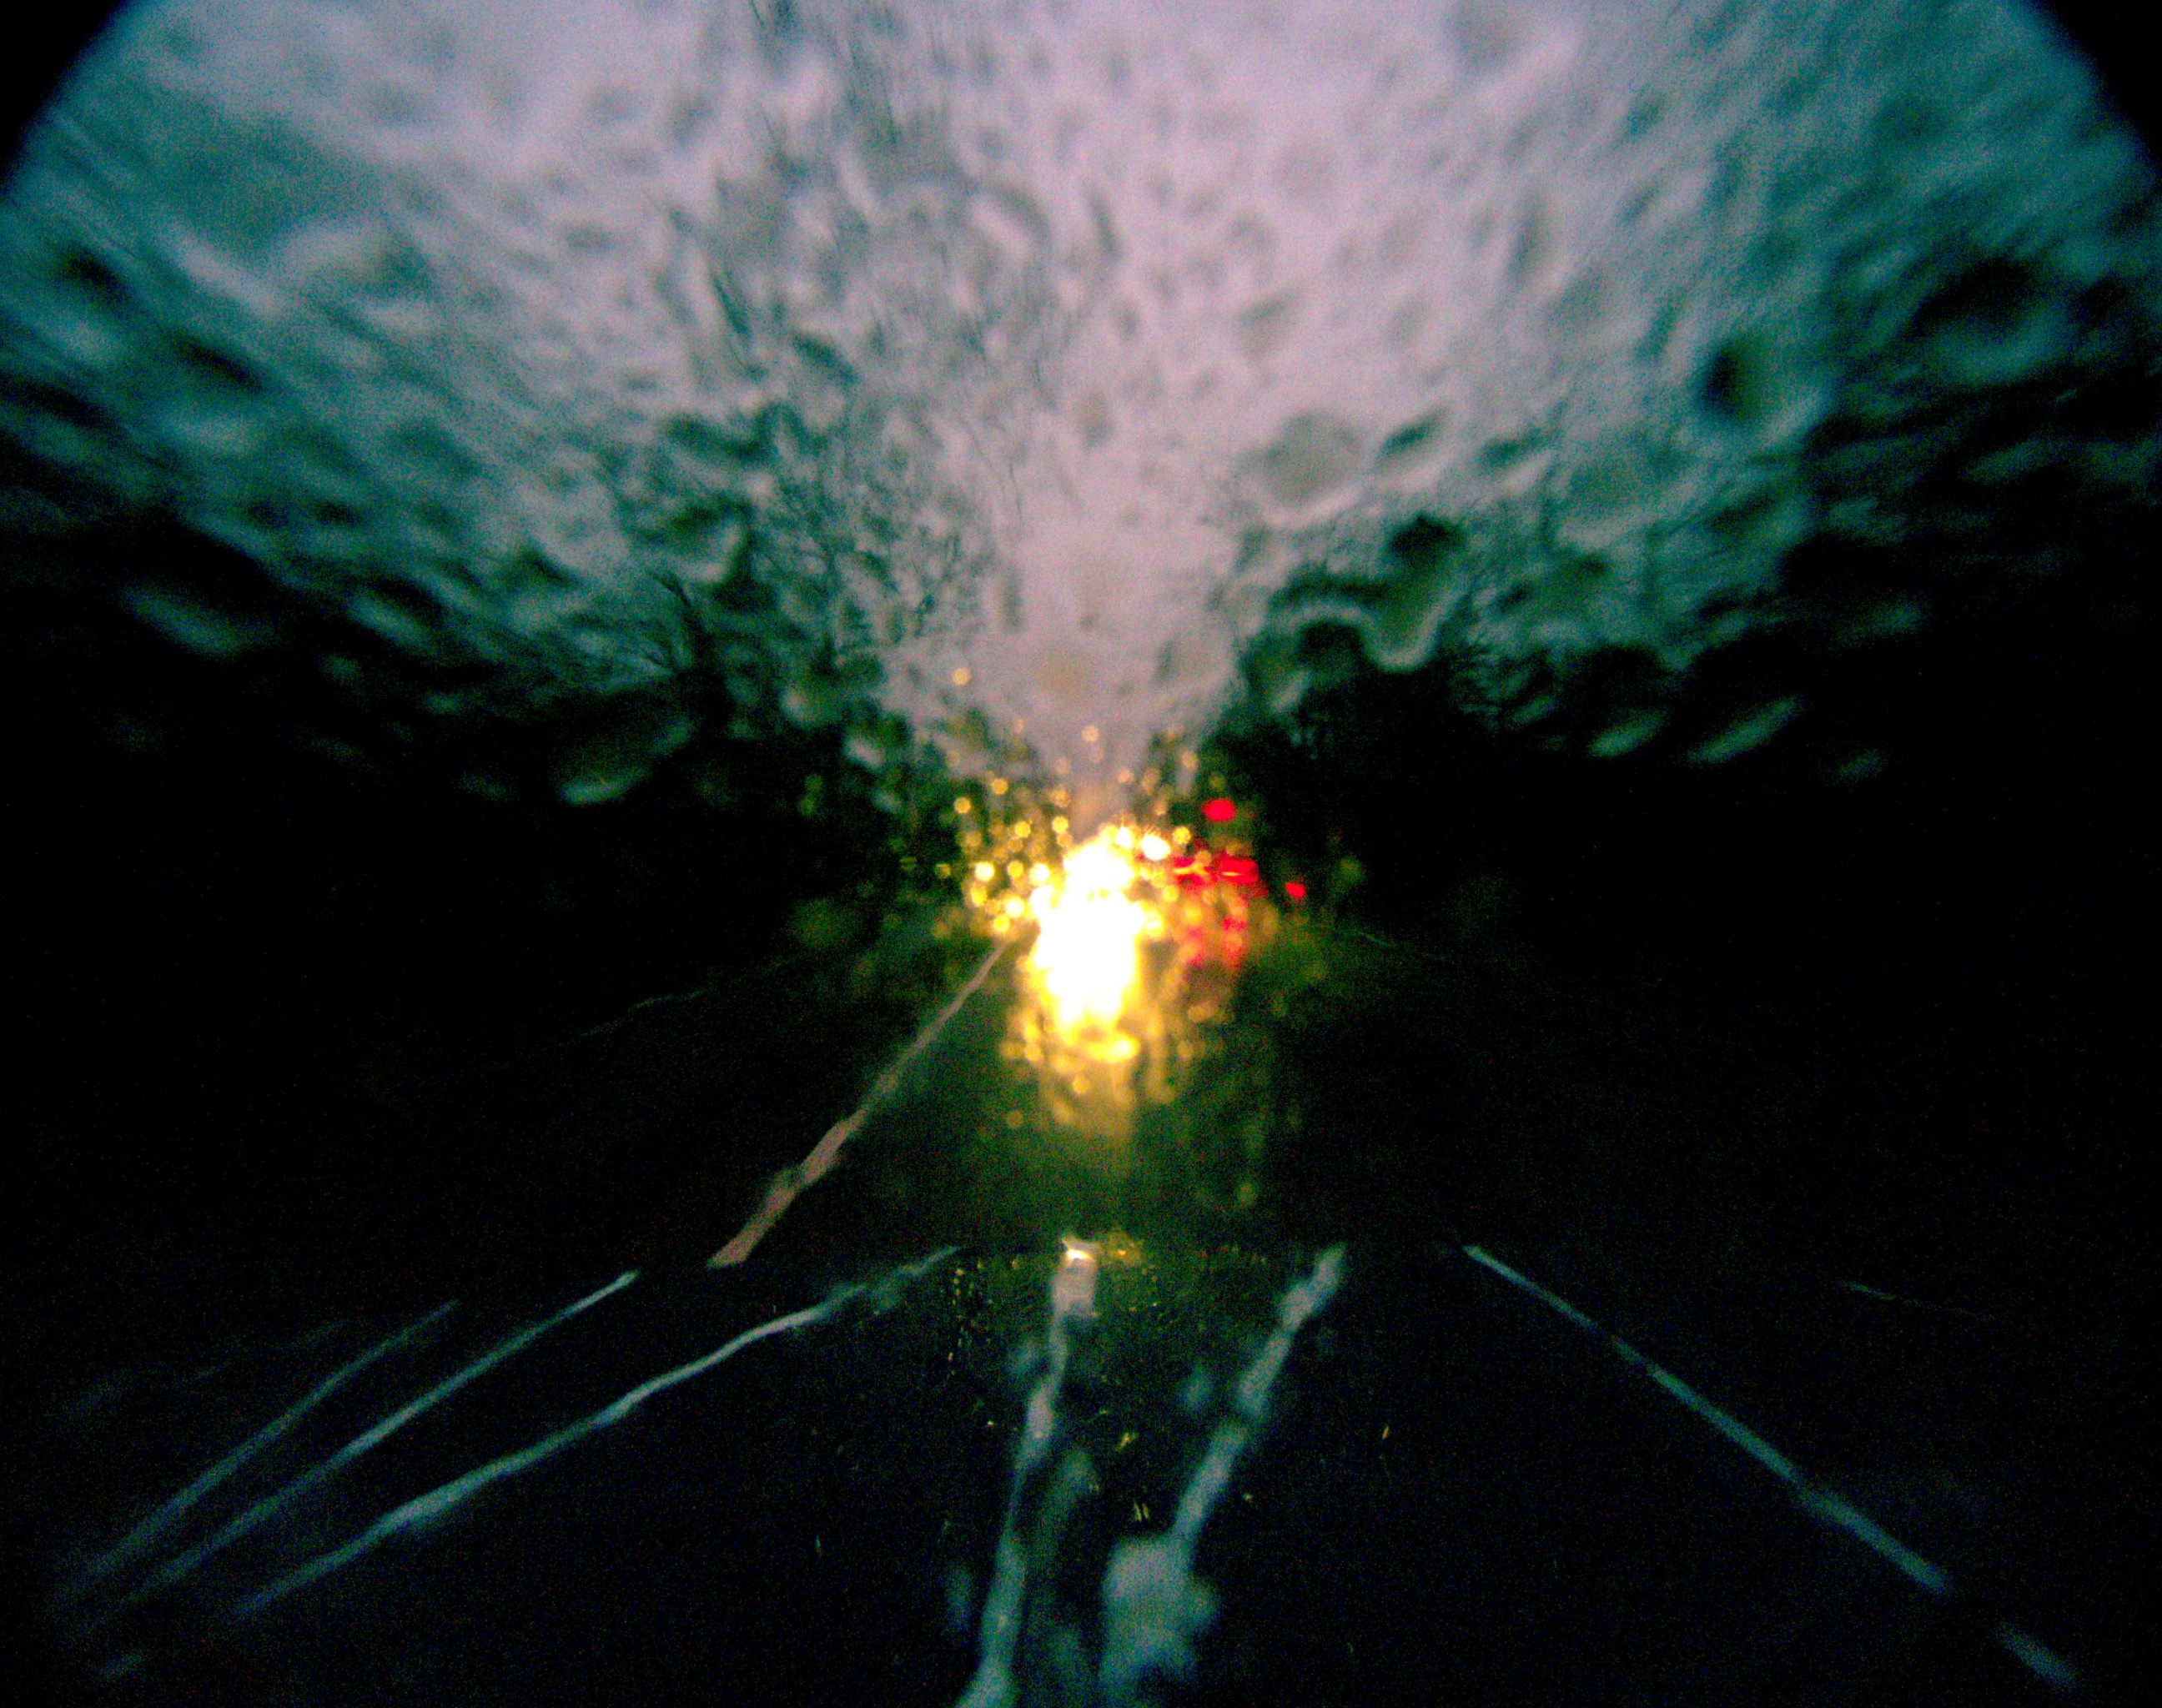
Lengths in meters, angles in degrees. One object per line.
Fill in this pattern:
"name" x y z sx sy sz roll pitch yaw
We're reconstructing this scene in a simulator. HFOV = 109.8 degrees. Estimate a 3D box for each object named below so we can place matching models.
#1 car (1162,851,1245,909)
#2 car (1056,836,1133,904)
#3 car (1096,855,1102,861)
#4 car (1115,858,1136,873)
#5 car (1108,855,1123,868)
"car" 3.701 0.741 23.677 2.080 1.607 4.152 0 1 2
"car" 0.525 0.535 28.754 2.542 2.213 6.169 -2 0 1
"car" 5.571 1.232 234.119 1.979 1.559 4.928 0 0 3
"car" 4.421 1.145 76.042 1.873 1.414 4.387 -1 0 0
"car" 4.605 0.946 102.355 1.922 1.599 5.016 -1 1 2
